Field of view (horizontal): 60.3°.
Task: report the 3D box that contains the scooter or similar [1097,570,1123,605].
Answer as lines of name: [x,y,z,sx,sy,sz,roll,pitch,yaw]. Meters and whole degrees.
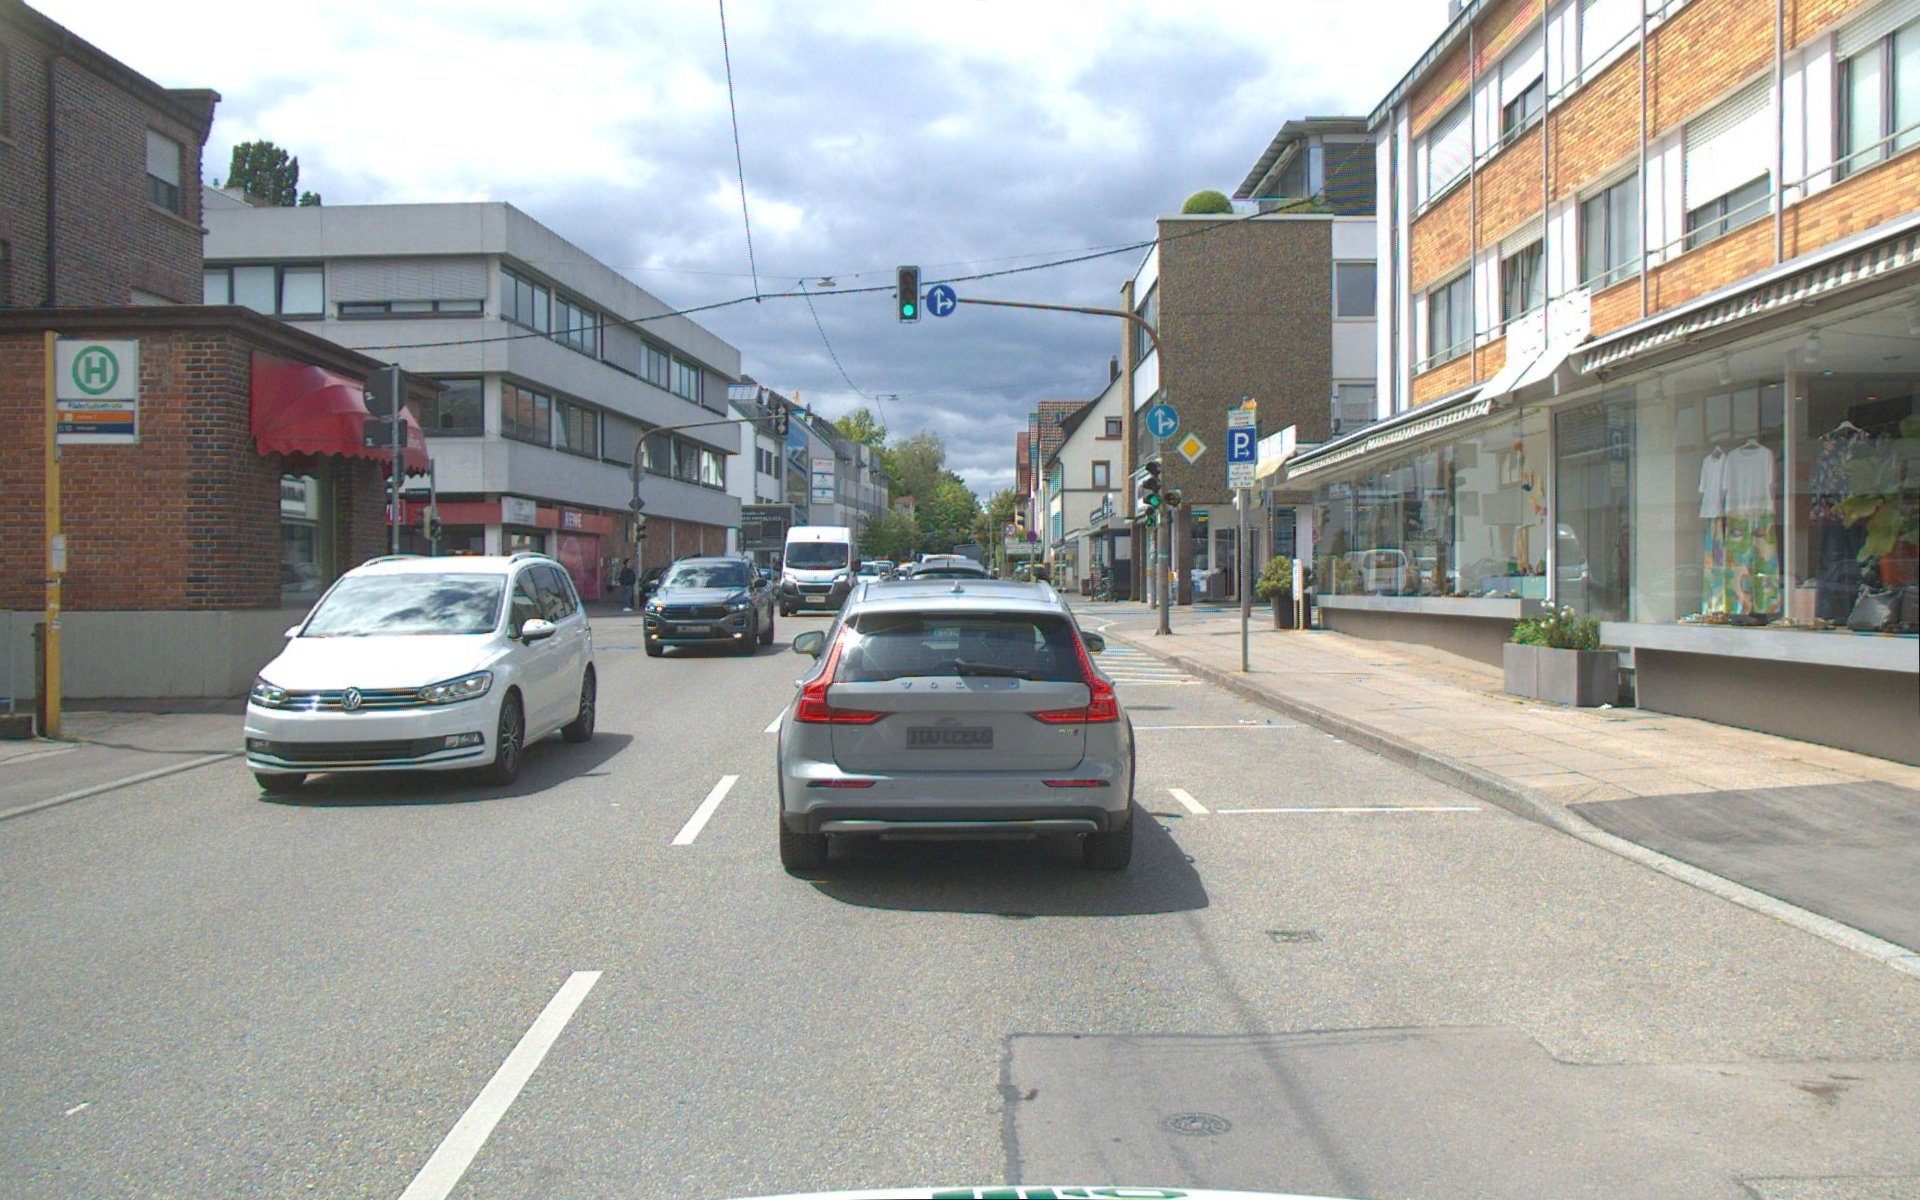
scooter or similar: [5.575,-0.461,61.393,0.336,1.275,1.235,-3,0,-26]

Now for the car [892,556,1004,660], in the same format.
car: [-0.195,0.099,25.880,1.617,1.508,3.607,0,1,-1]

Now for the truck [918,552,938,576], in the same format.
truck: [-4.031,-4.471,206.528,2.229,2.936,7.080,-1,1,1]

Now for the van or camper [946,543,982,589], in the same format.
van or camper: [0.246,-2.095,101.067,2.079,2.733,4.782,-1,1,1]

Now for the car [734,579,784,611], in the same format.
car: [-9.451,-0.251,78.065,1.719,1.451,3.863,-1,0,2]

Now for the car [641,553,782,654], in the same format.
car: [-4.064,0.047,27.553,1.754,1.537,3.844,-1,0,0]

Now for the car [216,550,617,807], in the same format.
car: [-4.015,0.459,12.984,1.738,1.640,4.120,-2,2,0]

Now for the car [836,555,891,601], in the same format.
car: [-3.676,-0.870,63.594,1.744,1.668,4.221,-2,1,1]

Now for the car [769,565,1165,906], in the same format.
car: [0.010,0.574,9.543,1.798,1.512,4.000,0,2,-1]

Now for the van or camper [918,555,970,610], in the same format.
van or camper: [-0.564,-0.588,58.977,1.782,1.867,3.999,0,-1,-1]

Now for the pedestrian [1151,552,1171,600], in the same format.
pedestrian: [6.366,-0.749,52.426,0.493,1.484,0.500,-3,0,13]

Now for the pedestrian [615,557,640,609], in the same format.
pedestrian: [-10.648,-0.545,52.991,0.606,1.670,0.660,-1,1,1]

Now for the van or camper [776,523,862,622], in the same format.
van or camper: [-3.940,-0.822,47.021,2.105,2.600,5.436,-1,2,-2]

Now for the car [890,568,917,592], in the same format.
car: [-3.834,-1.367,112.013,1.634,1.581,4.215,0,1,1]

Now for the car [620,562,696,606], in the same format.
car: [-10.912,-0.589,60.030,1.747,1.490,4.089,1,1,3]

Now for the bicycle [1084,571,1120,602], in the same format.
bicycle: [5.532,-0.538,64.493,0.546,1.164,2.289,-1,1,-18]

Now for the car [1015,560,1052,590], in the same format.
car: [3.943,-1.334,89.448,1.676,1.490,3.998,0,0,-2]

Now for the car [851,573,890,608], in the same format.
car: [-4.247,-0.442,78.950,1.753,1.617,4.099,-1,0,-2]
